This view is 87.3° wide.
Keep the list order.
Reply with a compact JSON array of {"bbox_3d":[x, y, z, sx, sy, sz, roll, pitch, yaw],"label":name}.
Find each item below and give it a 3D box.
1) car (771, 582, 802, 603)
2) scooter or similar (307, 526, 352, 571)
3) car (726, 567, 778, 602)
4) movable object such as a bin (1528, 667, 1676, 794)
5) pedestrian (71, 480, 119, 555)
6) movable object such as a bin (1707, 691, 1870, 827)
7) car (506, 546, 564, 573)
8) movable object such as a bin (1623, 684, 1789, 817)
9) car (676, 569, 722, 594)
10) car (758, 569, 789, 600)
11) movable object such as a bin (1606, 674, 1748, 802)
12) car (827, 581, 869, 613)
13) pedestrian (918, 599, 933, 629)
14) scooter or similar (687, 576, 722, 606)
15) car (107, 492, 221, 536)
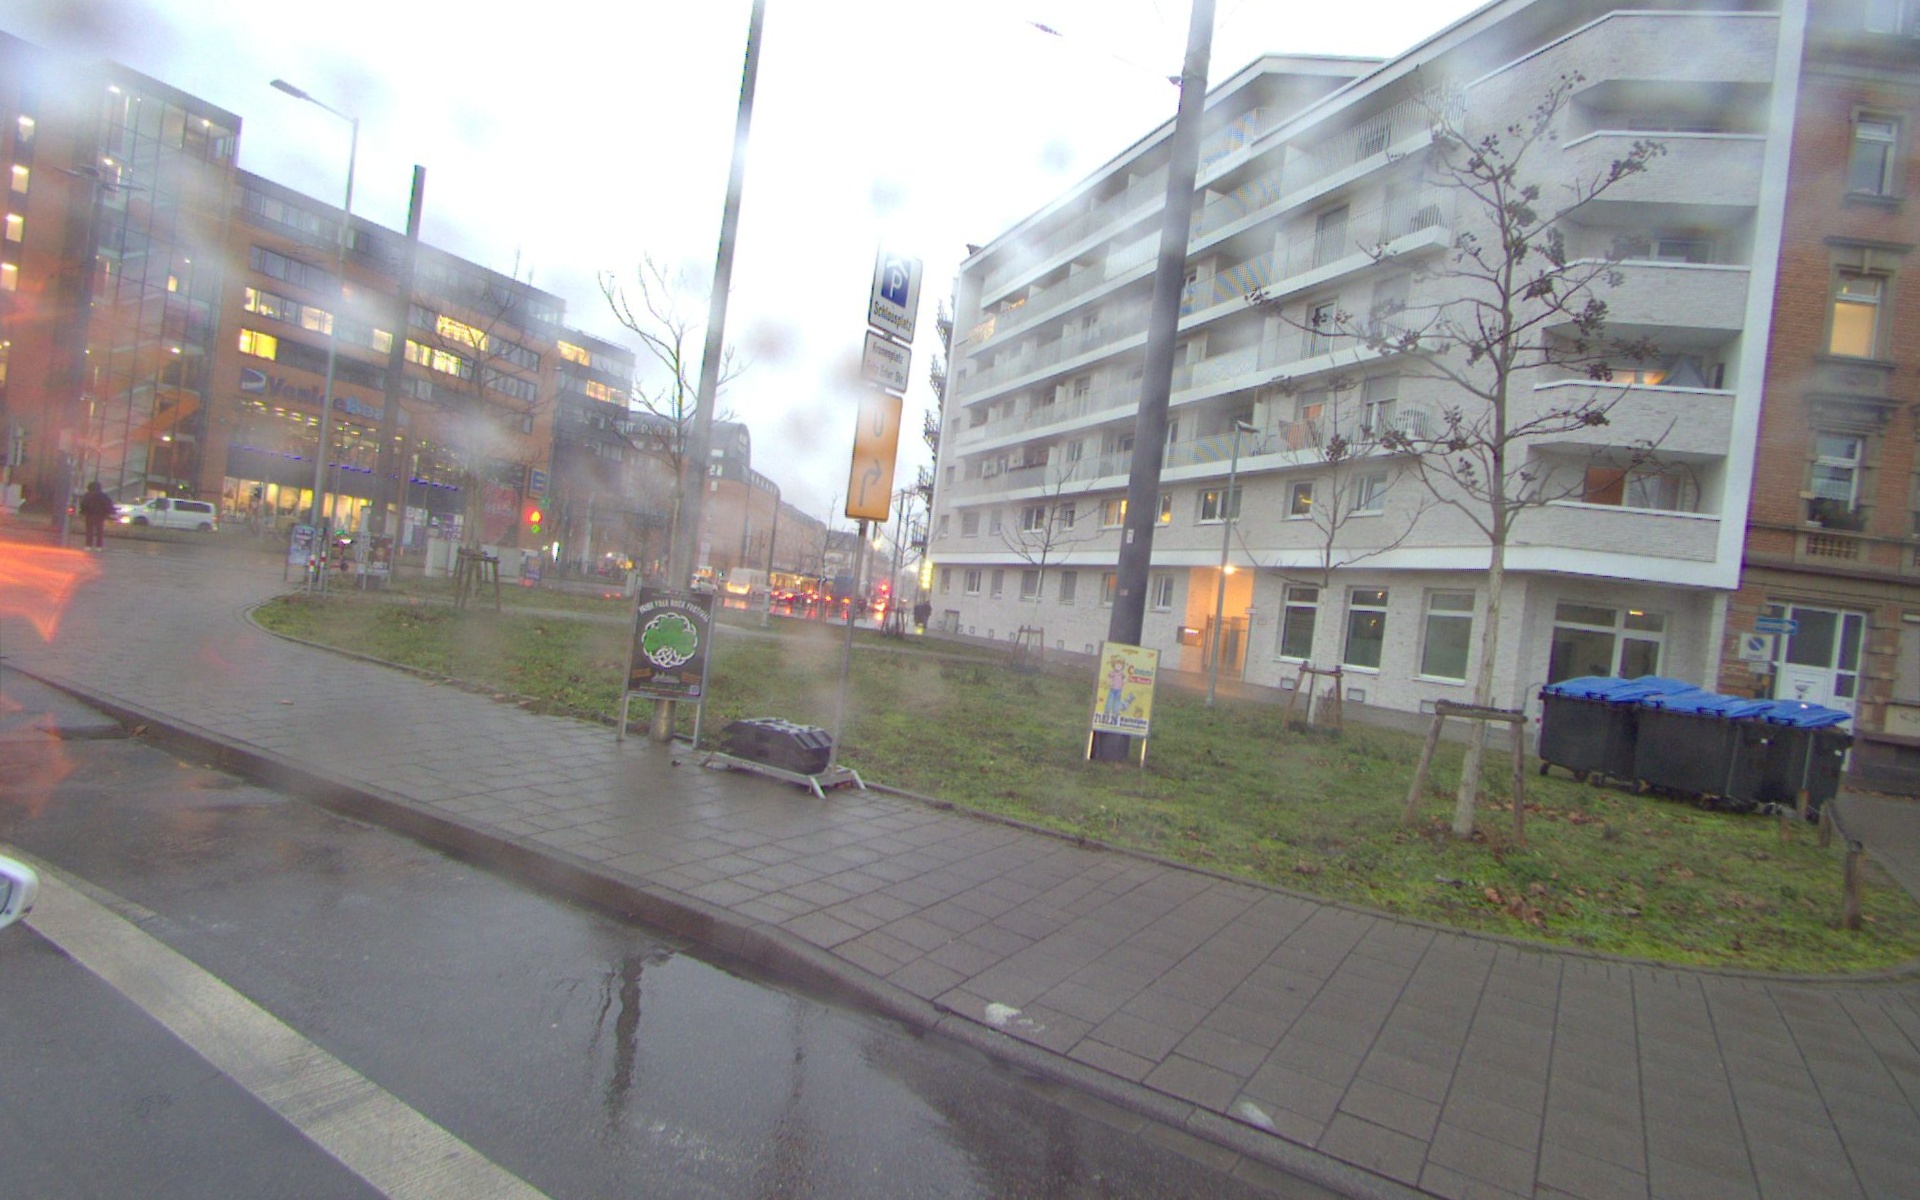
[{"bbox_3d":[-15.761,-0.625,91.312,1.494,1.538,3.474,7,-1,11],"label":"car"},{"bbox_3d":[-18.679,-1.516,29.836,0.327,1.221,1.309,7,0,4],"label":"scooter or similar"},{"bbox_3d":[-17.447,-1.248,84.621,1.962,2.456,5.978,7,-1,10],"label":"car"},{"bbox_3d":[9.031,1.812,14.196,1.038,1.529,1.247,7,0,-19],"label":"movable object such as a bin"},{"bbox_3d":[-23.333,-2.224,27.147,0.768,1.901,0.629,6,1,-36],"label":"pedestrian"},{"bbox_3d":[10.730,2.045,13.065,1.038,1.503,1.135,7,0,-19],"label":"movable object such as a bin"},{"bbox_3d":[-35.640,-3.380,84.488,1.893,1.740,4.612,7,-1,15],"label":"car"},{"bbox_3d":[9.601,1.918,12.991,1.038,1.450,1.220,7,0,-19],"label":"movable object such as a bin"},{"bbox_3d":[-19.762,-1.358,76.297,1.613,1.514,3.686,7,0,14],"label":"car"},{"bbox_3d":[-19.829,-1.643,107.214,2.321,2.861,6.355,7,-1,-5],"label":"car"},{"bbox_3d":[10.342,1.974,14.550,1.038,1.595,1.135,7,0,-19],"label":"movable object such as a bin"},{"bbox_3d":[-11.891,-0.281,107.726,2.317,2.860,6.364,7,-1,12],"label":"car"},{"bbox_3d":[-2.007,0.816,57.970,0.621,1.652,0.721,7,1,-7],"label":"pedestrian"},{"bbox_3d":[-12.361,-0.449,48.729,0.658,1.241,1.556,7,-2,26],"label":"scooter or similar"},{"bbox_3d":[-44.547,-4.803,56.432,1.754,1.698,4.651,7,-1,22],"label":"car"}]
